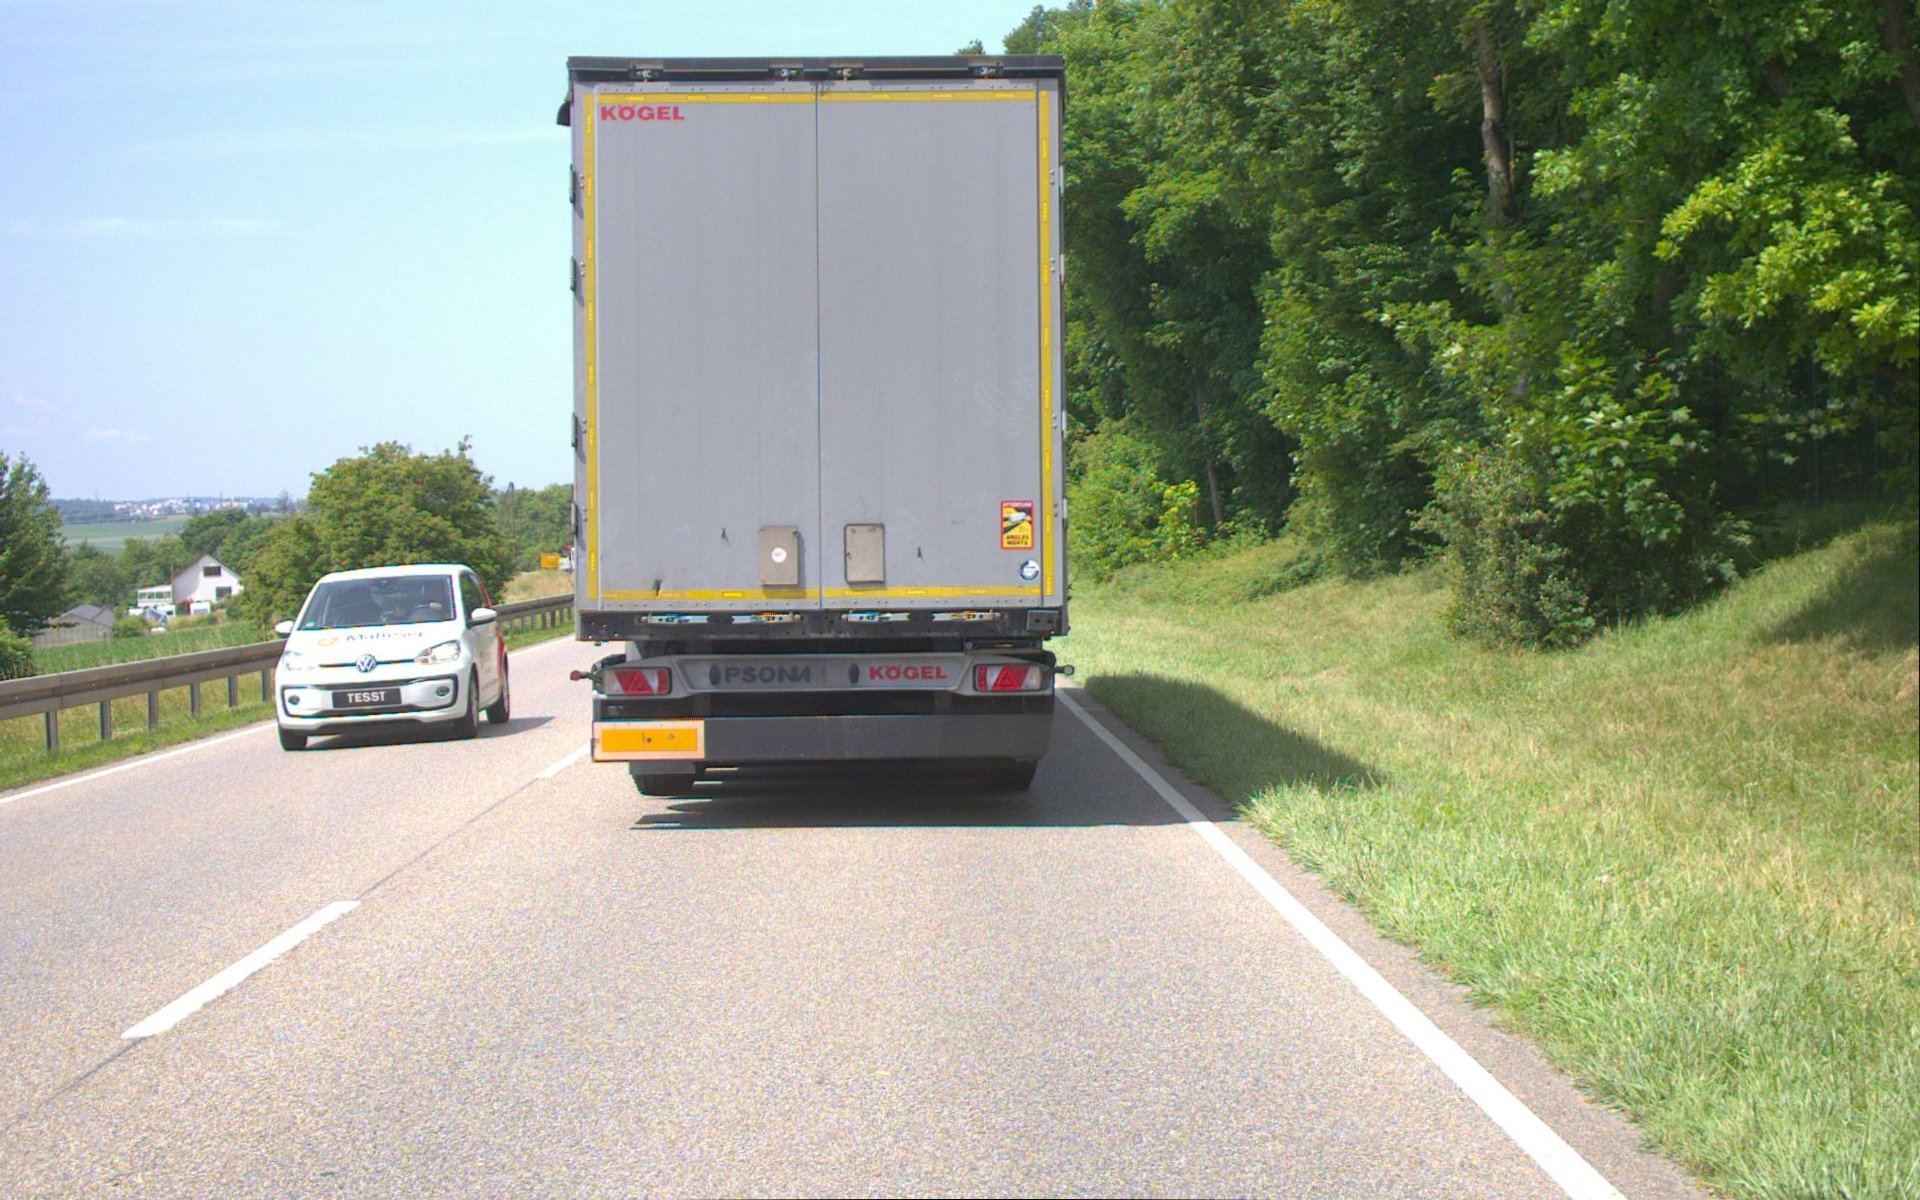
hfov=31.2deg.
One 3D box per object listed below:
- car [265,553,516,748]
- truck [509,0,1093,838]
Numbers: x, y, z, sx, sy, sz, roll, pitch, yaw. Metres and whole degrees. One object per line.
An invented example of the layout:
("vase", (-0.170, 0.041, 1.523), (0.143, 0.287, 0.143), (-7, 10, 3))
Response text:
("car", (-4.845, 0.387, 29.634), (1.557, 1.457, 3.550), (-4, 1, -1))
("truck", (-0.890, -1.093, 21.618), (2.907, 4.395, 8.861), (0, 1, -1))
